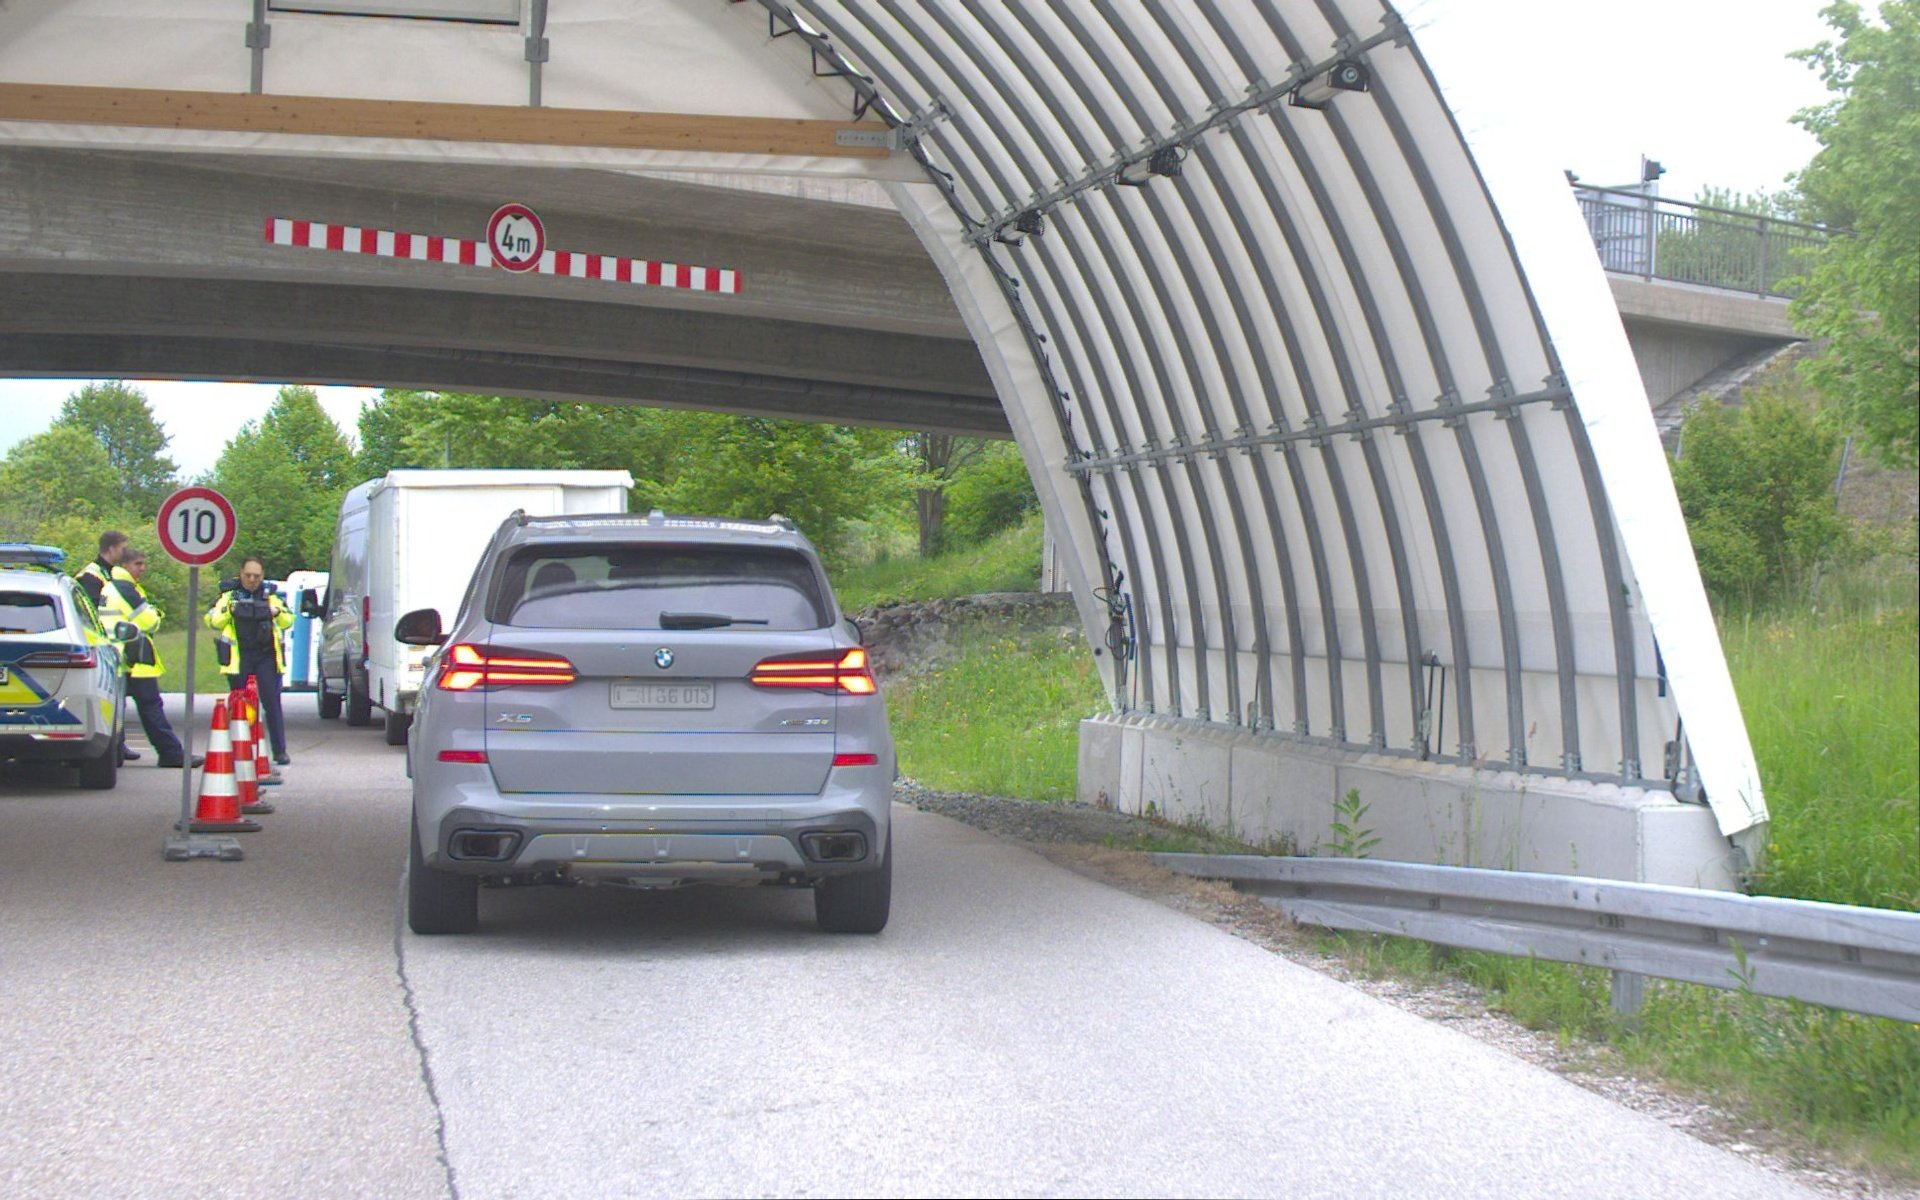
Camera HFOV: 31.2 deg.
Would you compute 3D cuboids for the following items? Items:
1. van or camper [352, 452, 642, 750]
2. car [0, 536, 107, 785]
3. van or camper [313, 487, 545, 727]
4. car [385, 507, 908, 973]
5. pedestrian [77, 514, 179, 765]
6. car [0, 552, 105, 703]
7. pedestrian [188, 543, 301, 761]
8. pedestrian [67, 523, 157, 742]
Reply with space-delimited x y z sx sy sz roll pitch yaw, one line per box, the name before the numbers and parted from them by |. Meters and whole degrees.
van or camper | -4.552 -0.007 32.828 2.229 2.544 6.612 0 0 -12
car | -7.082 0.399 24.557 1.877 1.641 4.001 0 0 -14
van or camper | -6.101 0.062 38.957 2.103 2.510 5.553 0 0 -14
car | -1.506 0.520 15.159 1.993 1.759 4.001 0 0 -9
pedestrian | -6.474 0.299 26.741 0.749 1.912 0.763 0 0 -15
car | -14.309 0.364 46.886 4.807 2.007 1.840 0 0 8
pedestrian | -5.735 0.407 27.537 0.779 1.716 0.757 0 0 -19
pedestrian | -6.846 0.255 27.779 0.609 1.748 0.666 0 0 -6
